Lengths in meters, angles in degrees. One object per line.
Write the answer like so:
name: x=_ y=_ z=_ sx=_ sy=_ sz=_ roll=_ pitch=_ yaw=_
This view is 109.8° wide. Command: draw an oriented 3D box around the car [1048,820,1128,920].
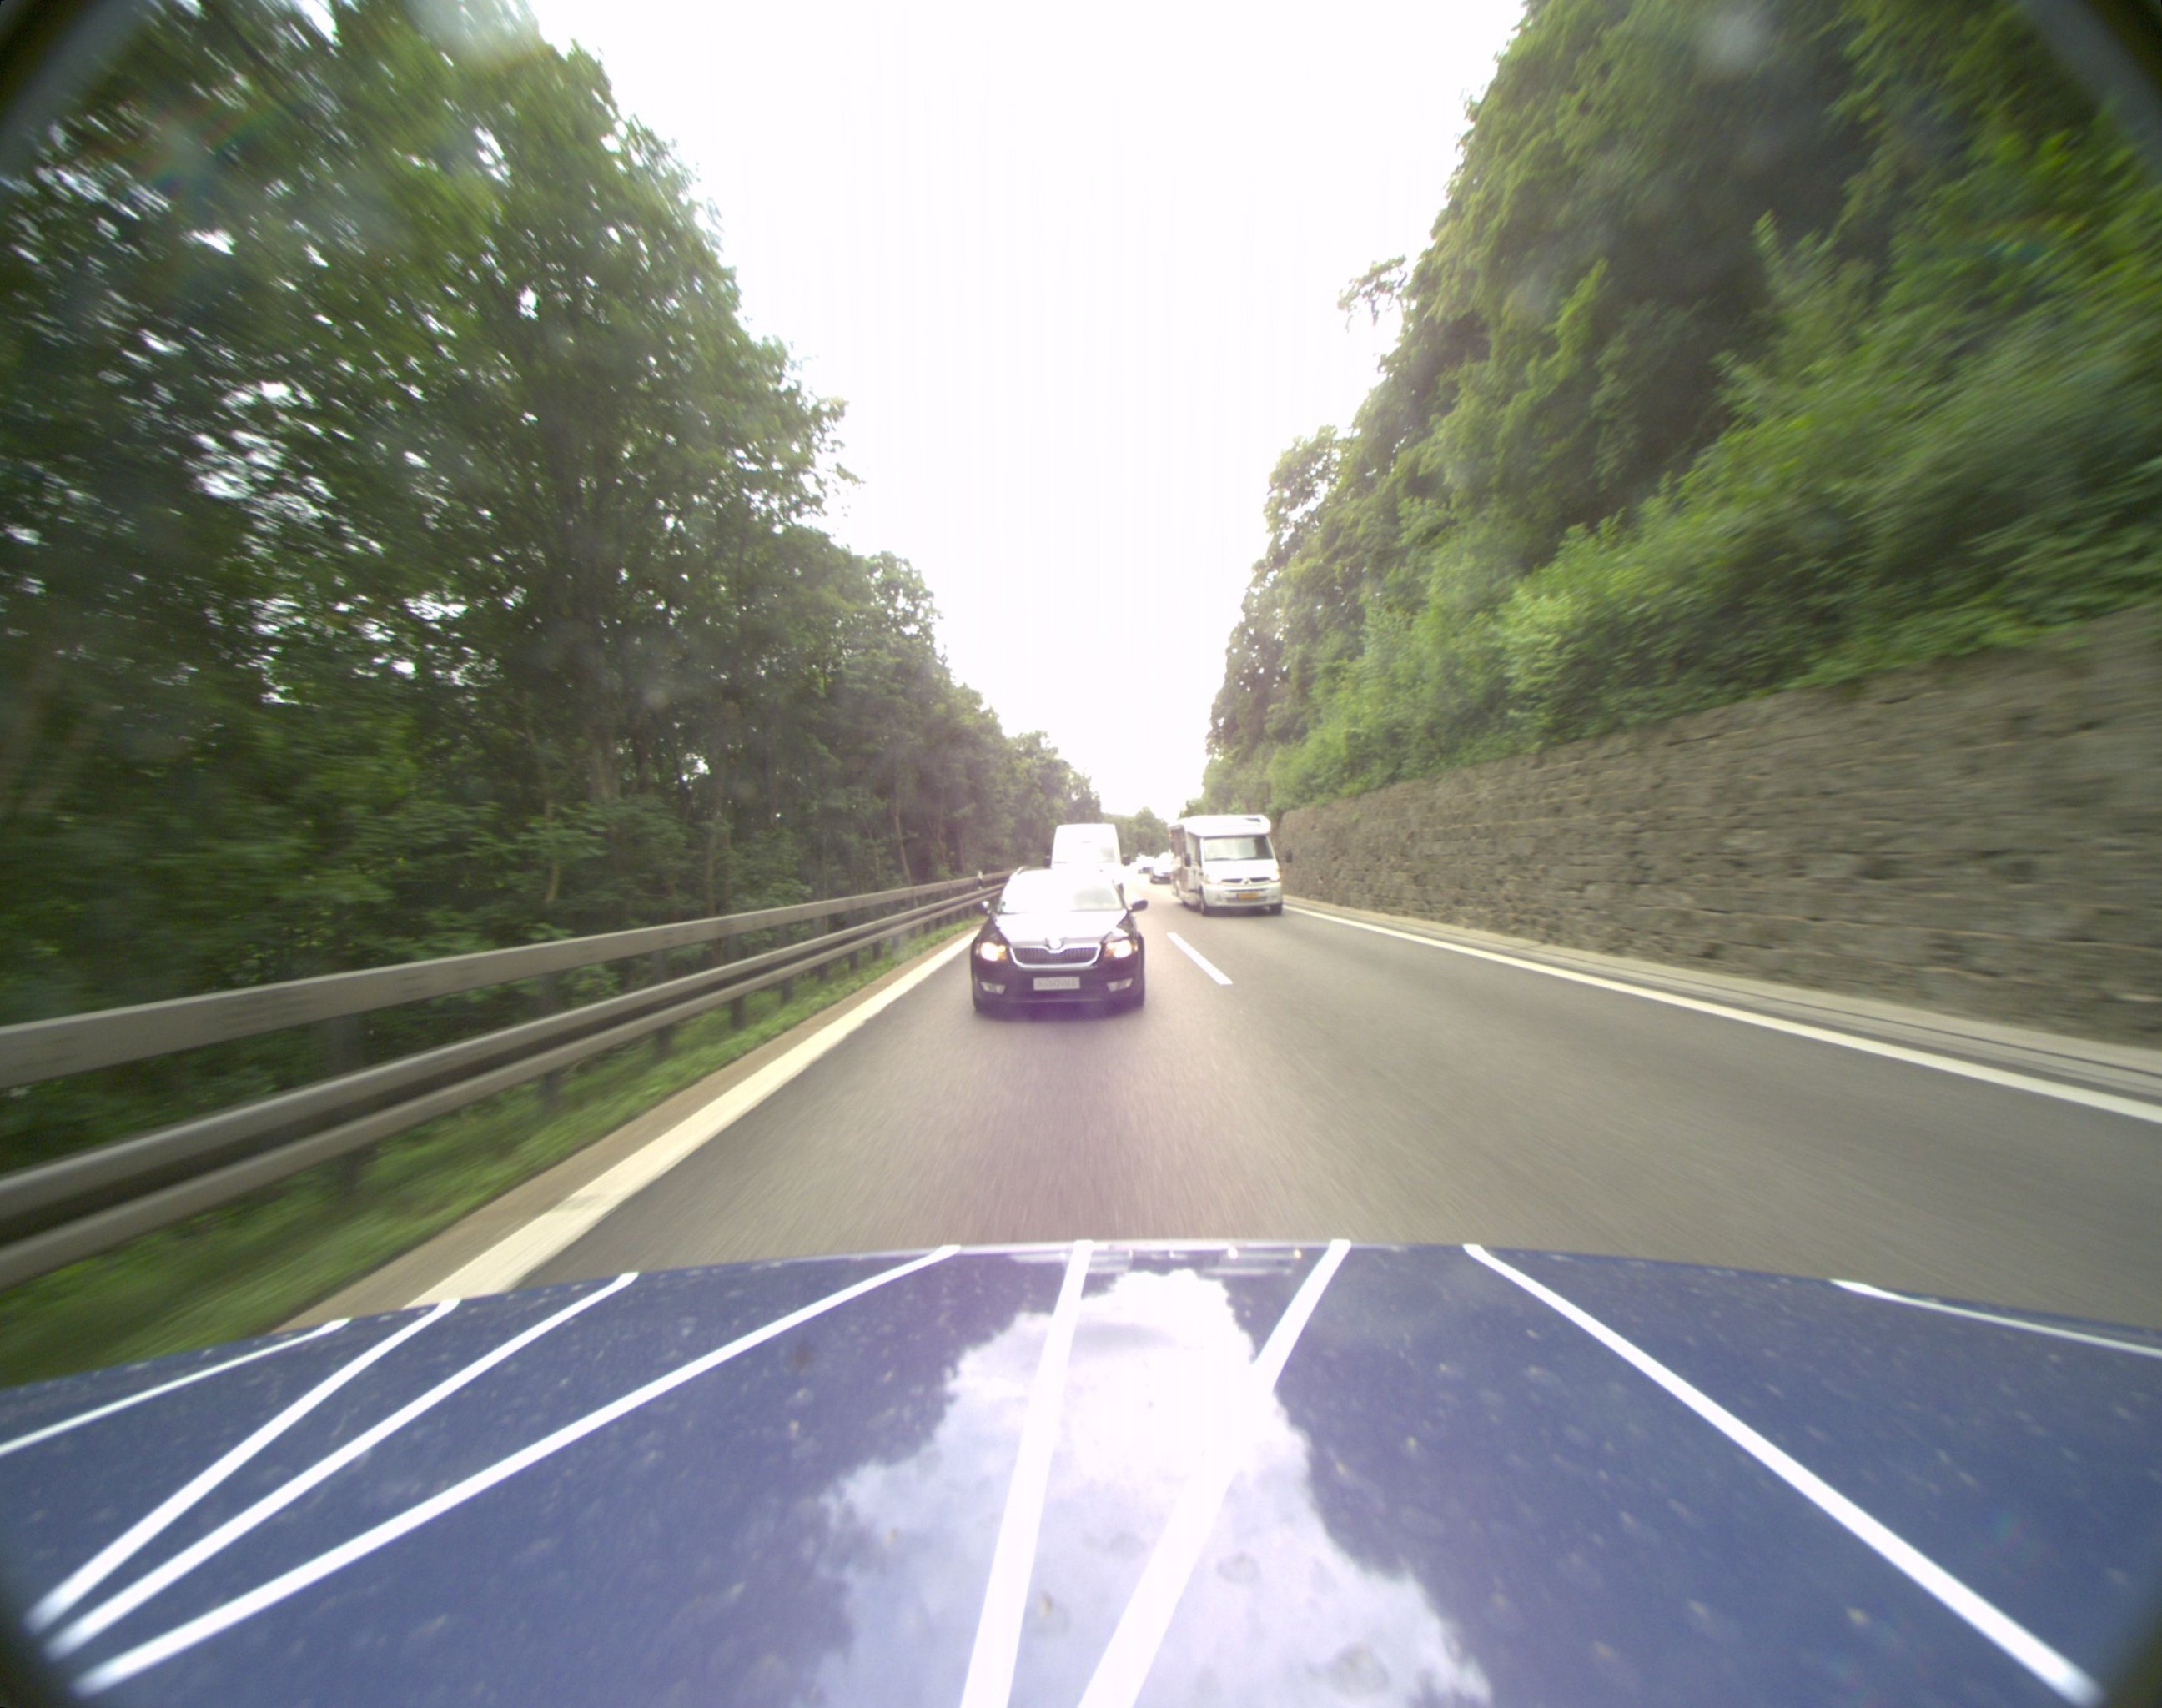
car: x=0.268 y=0.399 z=22.425 sx=2.000 sy=2.545 sz=5.128 roll=-2 pitch=1 yaw=2

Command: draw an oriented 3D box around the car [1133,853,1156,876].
car: x=6.020 y=0.990 z=72.155 sx=1.998 sy=2.002 sz=4.001 roll=-2 pitch=0 yaw=3

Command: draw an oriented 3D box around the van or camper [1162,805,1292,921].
van or camper: x=3.878 y=0.210 z=21.764 sx=2.271 sy=2.719 sz=7.023 roll=-2 pitch=0 yaw=0

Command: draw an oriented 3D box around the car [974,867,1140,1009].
car: x=-0.191 y=0.955 z=10.431 sx=1.750 sy=1.409 sz=4.401 roll=-2 pitch=0 yaw=2

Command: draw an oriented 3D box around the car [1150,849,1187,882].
car: x=5.033 y=0.629 z=44.160 sx=1.808 sy=1.772 sz=4.001 roll=-2 pitch=0 yaw=3
